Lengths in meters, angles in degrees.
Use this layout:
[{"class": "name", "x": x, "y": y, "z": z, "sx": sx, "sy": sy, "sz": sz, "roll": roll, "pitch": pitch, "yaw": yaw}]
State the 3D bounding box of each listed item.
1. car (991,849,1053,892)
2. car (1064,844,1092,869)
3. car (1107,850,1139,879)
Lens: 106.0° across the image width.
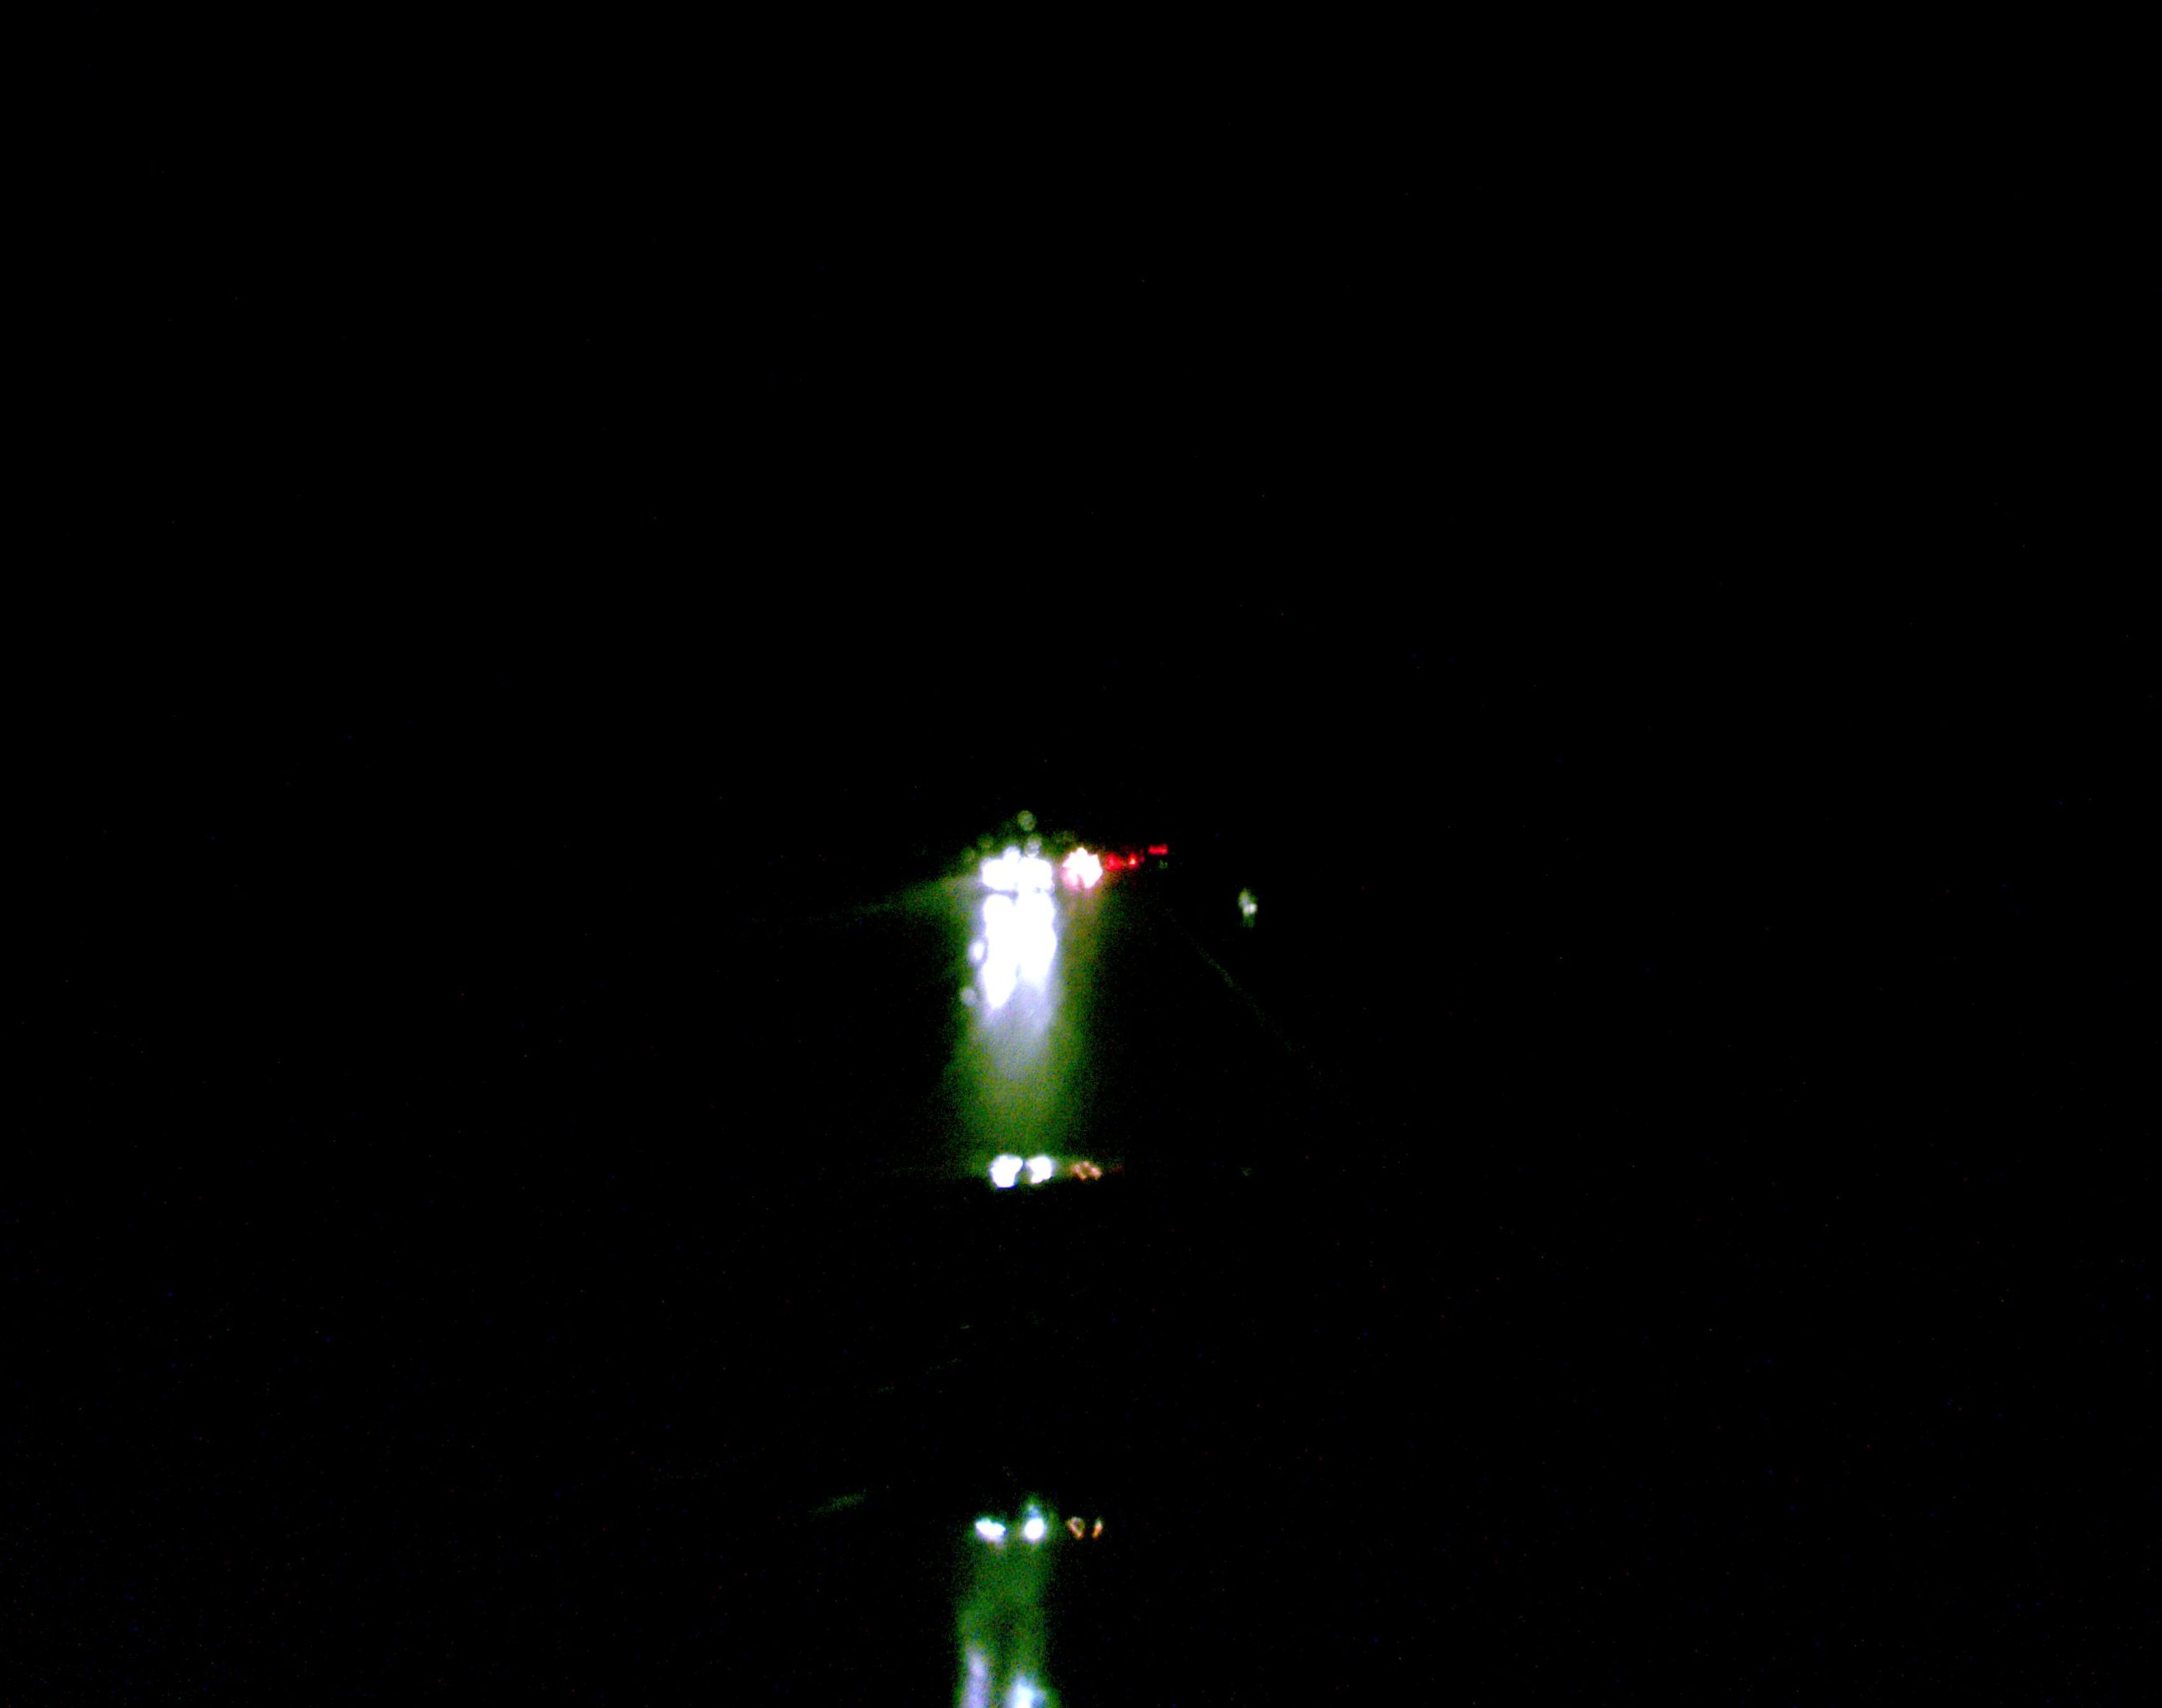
[{"class": "car", "x": -2.350, "y": 0.638, "z": 33.291, "sx": 1.985, "sy": 1.624, "sz": 4.003, "roll": -1, "pitch": 0, "yaw": 3}, {"class": "car", "x": -0.241, "y": 0.217, "z": 69.996, "sx": 1.984, "sy": 2.013, "sz": 4.281, "roll": -3, "pitch": 0, "yaw": 5}, {"class": "car", "x": 2.746, "y": 0.624, "z": 52.527, "sx": 1.834, "sy": 1.740, "sz": 4.005, "roll": -2, "pitch": 0, "yaw": 5}]
